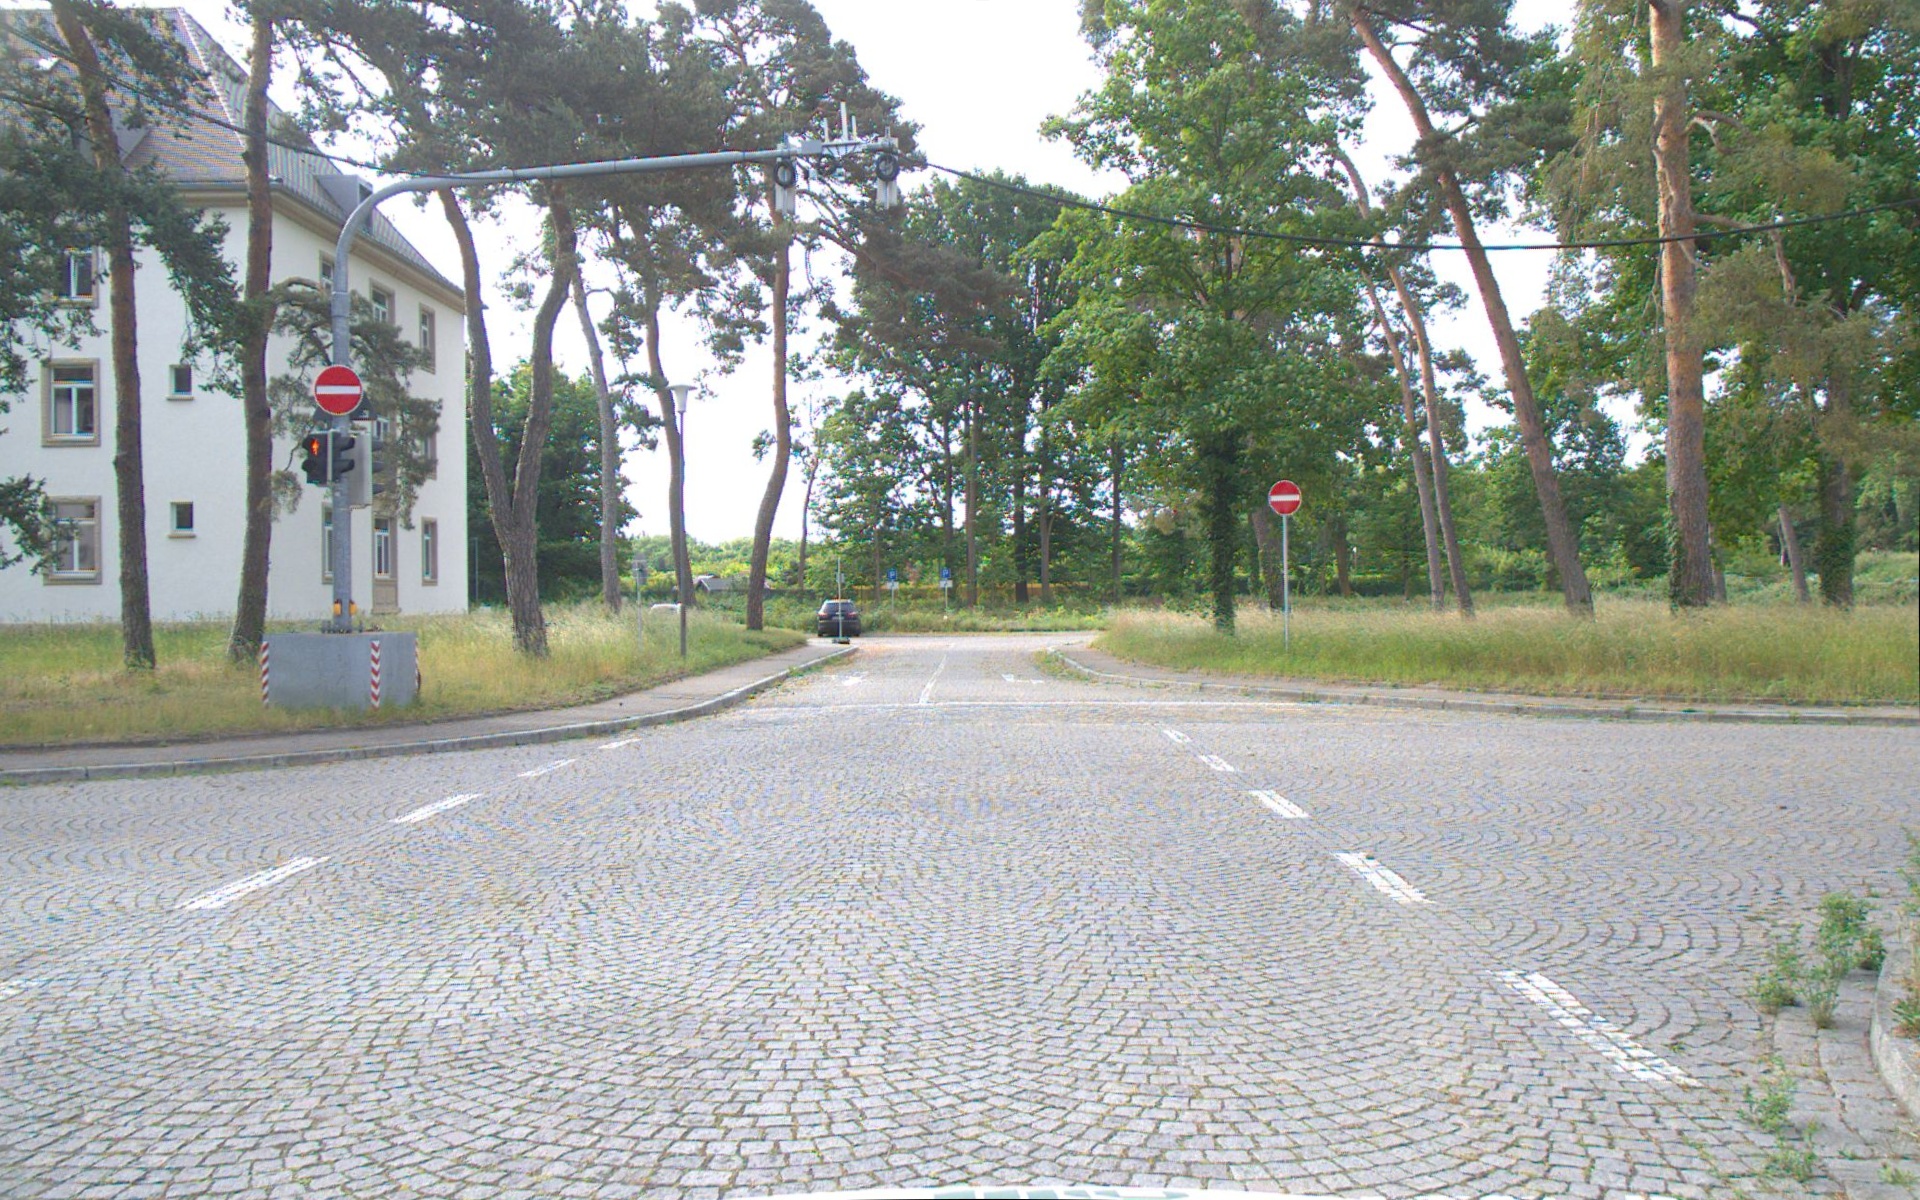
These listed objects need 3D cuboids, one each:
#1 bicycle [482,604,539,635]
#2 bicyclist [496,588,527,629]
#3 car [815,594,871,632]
[{"bbox_3d":[-17.322,0.751,63.744,1.947,1.114,0.810,-1,0,-4],"label":"bicycle"},{"bbox_3d":[-17.291,0.332,63.747,0.955,1.537,0.807,-1,0,-3],"label":"bicyclist"},{"bbox_3d":[-4.988,0.529,70.970,1.952,1.534,4.001,1,0,1],"label":"car"}]
